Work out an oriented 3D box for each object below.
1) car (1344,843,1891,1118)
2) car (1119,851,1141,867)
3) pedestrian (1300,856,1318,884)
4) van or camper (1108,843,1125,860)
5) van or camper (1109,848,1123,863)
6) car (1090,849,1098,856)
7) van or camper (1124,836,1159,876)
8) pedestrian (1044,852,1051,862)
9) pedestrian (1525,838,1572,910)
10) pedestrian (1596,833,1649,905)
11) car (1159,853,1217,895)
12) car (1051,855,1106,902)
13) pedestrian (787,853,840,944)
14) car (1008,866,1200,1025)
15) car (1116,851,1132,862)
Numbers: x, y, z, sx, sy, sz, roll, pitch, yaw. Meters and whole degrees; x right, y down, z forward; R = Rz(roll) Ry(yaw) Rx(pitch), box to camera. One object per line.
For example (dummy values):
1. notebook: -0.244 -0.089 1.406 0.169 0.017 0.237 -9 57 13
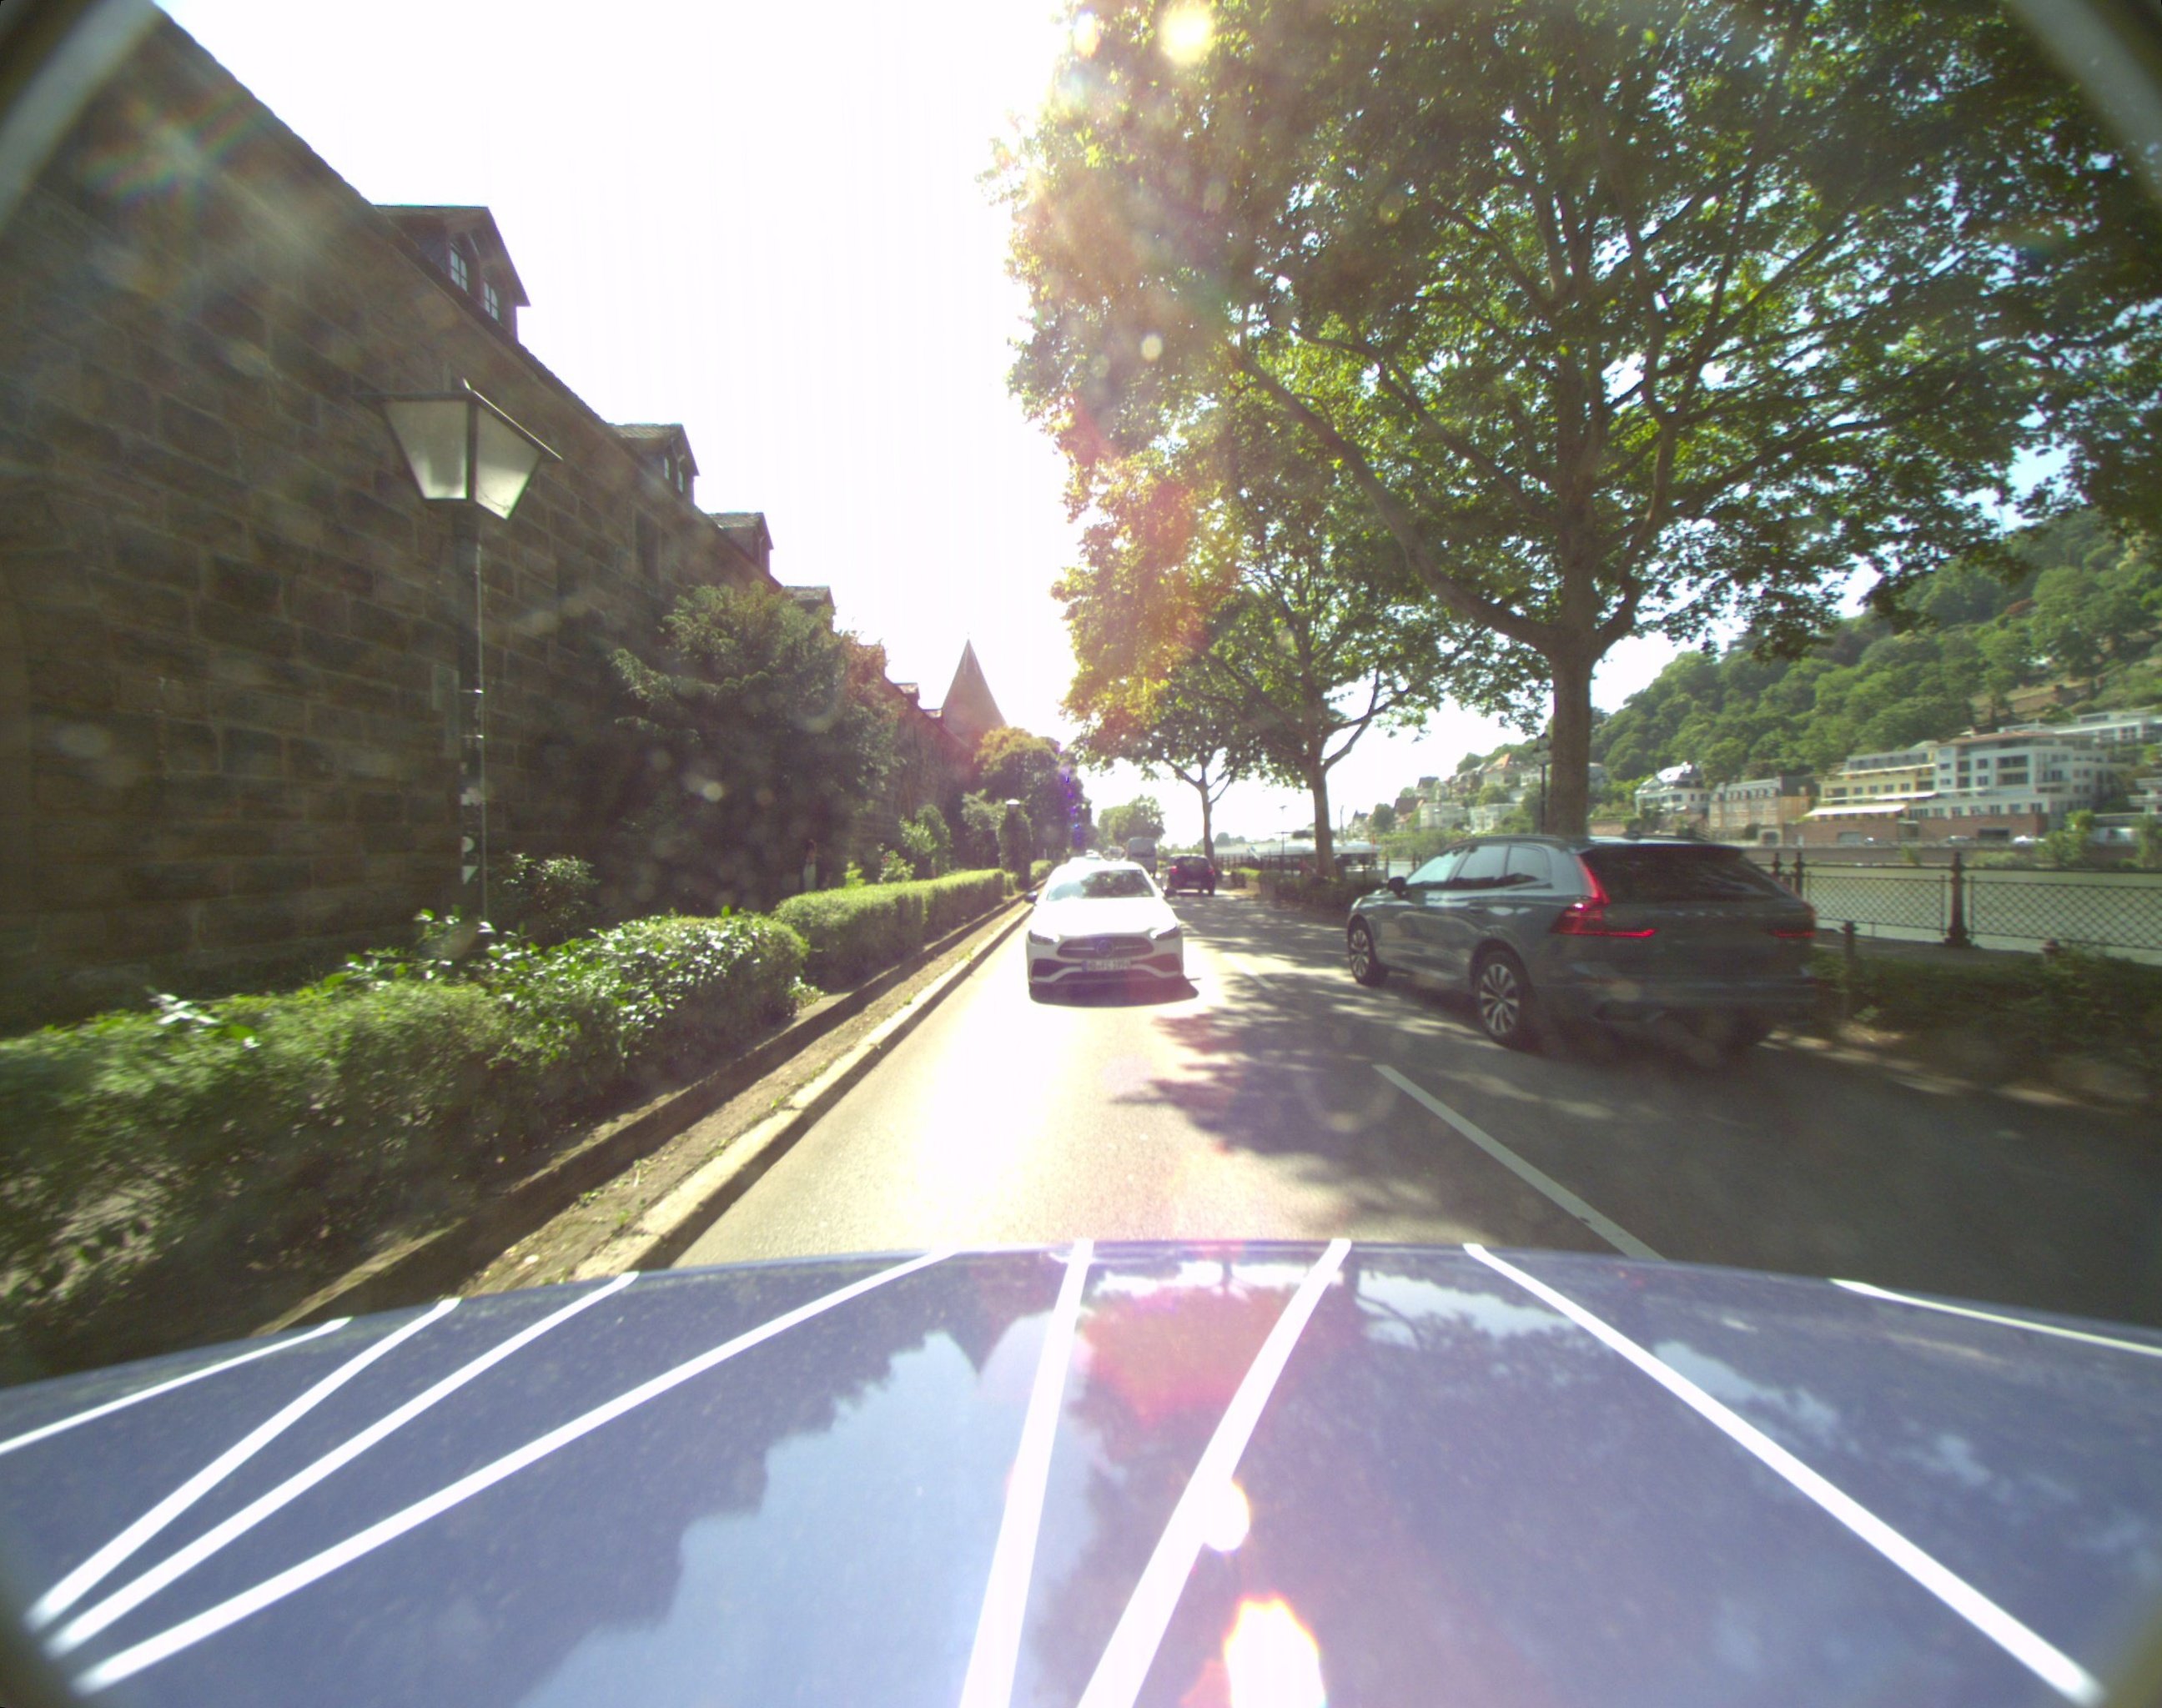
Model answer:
1. car: 4.062 0.767 6.847 1.882 1.688 4.258 1 1 0
2. car: 4.646 0.472 72.246 1.774 1.448 4.533 0 0 0
3. pedestrian: 10.906 0.750 36.361 0.704 1.300 0.656 0 1 1
4. van or camper: 5.660 -0.478 122.074 2.328 2.647 6.264 1 1 0
5. van or camper: 6.335 0.316 139.428 2.328 2.647 6.264 1 1 0
6. car: 3.501 -0.379 203.203 1.923 1.975 3.999 0 1 0
7. van or camper: 4.110 0.081 52.265 1.965 2.552 5.840 1 1 1
8. pedestrian: -4.031 0.389 91.543 0.632 1.186 0.747 -3 1 3
9. pedestrian: 11.470 0.478 18.658 0.705 1.721 0.705 -1 1 3
10. pedestrian: 12.291 0.325 17.269 0.705 1.594 0.705 -1 1 3
11. car: 3.938 0.691 28.561 1.653 1.460 3.779 0 0 0
12. car: -0.052 0.816 27.432 1.854 1.543 3.848 0 0 1
13. pedestrian: -4.914 0.797 13.983 0.700 1.643 0.705 0 1 3
14. car: 0.251 0.927 9.582 1.829 1.418 4.358 -2 0 1
15. car: 5.872 0.311 104.537 1.703 1.204 3.484 6 1 -4
